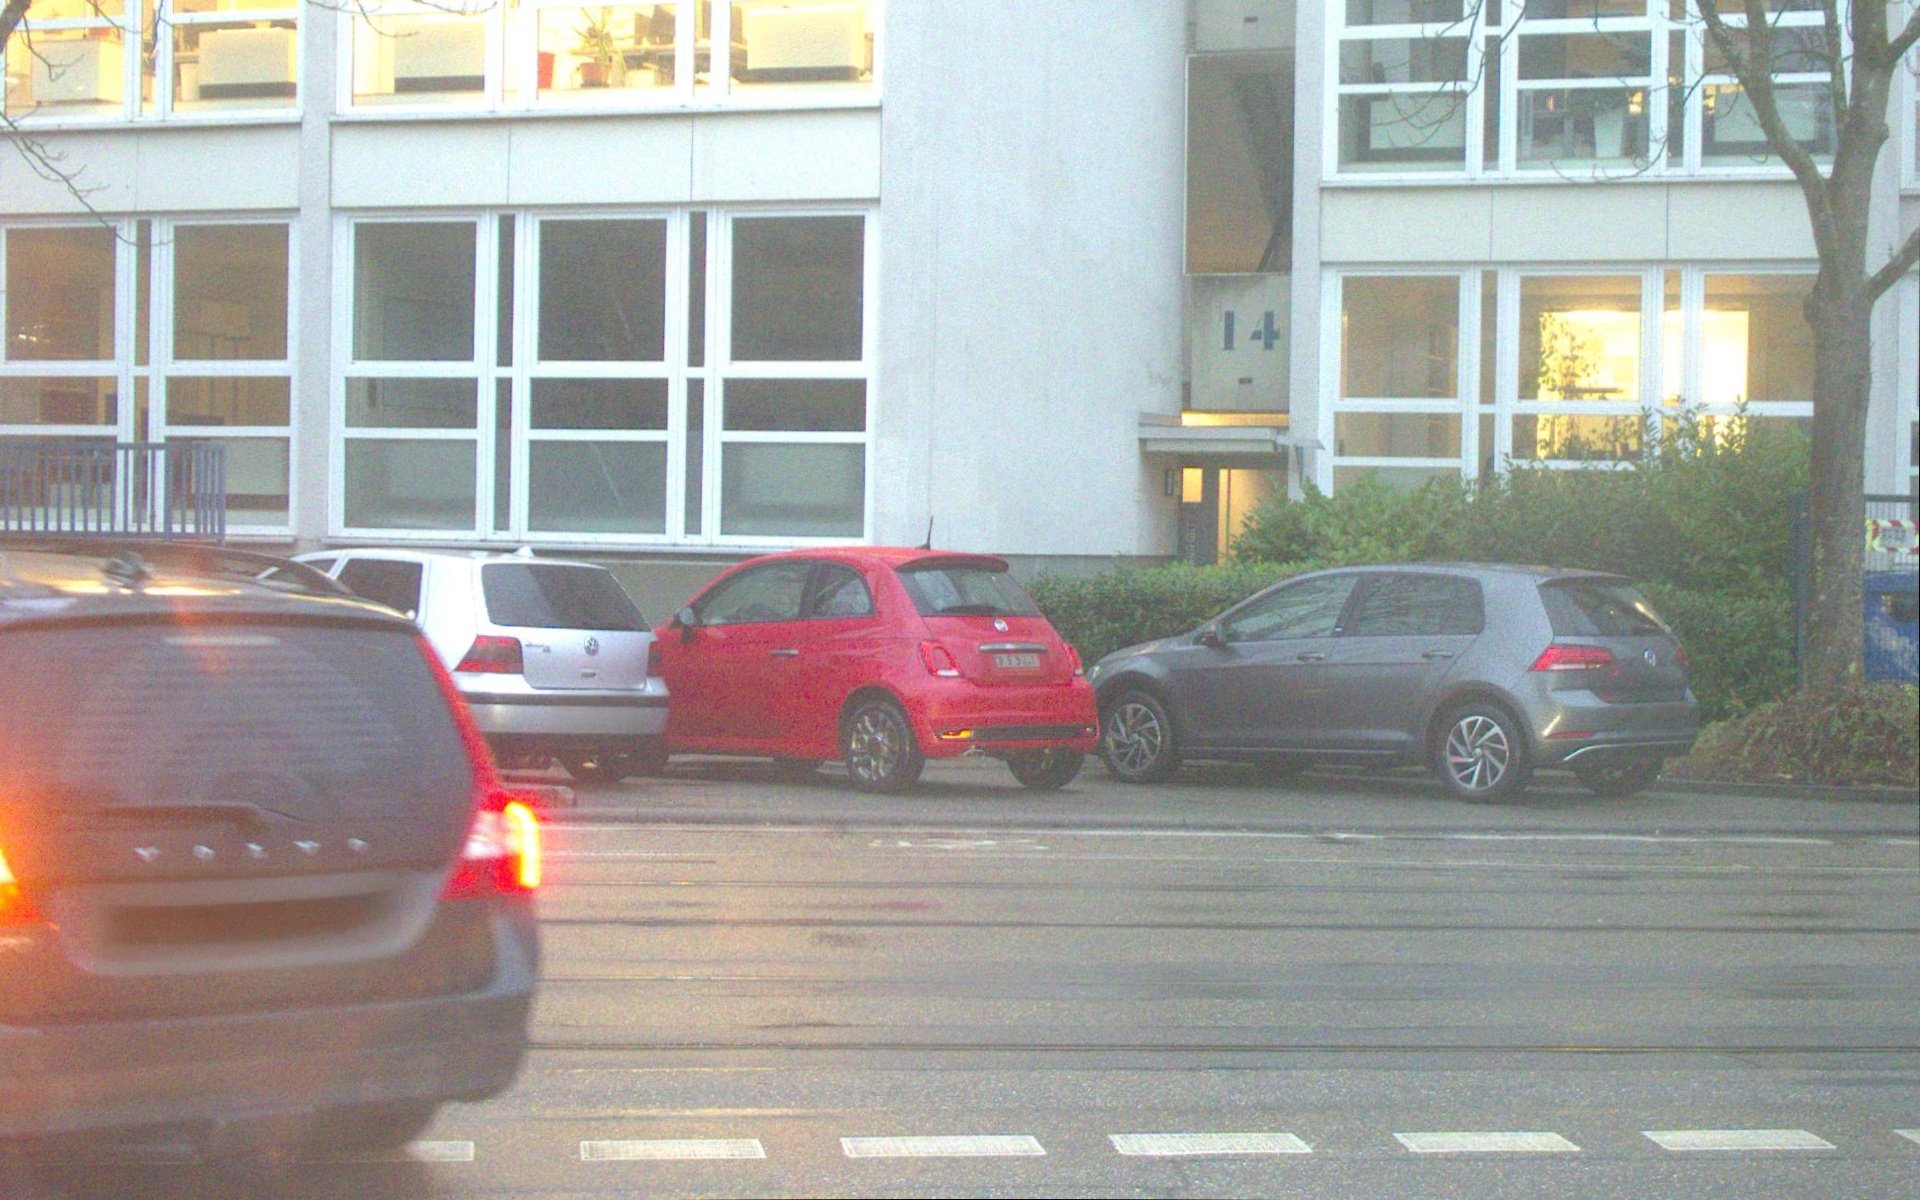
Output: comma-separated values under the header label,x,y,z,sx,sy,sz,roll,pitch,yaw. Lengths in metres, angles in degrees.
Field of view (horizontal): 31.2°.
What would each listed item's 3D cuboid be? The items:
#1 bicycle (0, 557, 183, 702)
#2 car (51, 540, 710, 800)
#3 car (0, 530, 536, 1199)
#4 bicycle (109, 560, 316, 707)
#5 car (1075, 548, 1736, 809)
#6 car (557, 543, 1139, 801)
label,x,y,z,sx,sy,sz,roll,pitch,yaw
bicycle,-7.138,0.216,27.857,0.640,1.117,2.204,1,1,17
car,-3.628,0.365,21.209,3.996,1.441,1.789,1,1,38
car,-2.916,0.593,8.914,1.748,1.539,4.294,0,1,-36
bicycle,-5.952,0.243,27.509,0.640,1.117,2.204,1,1,17
car,2.766,0.430,21.794,3.850,1.487,1.692,1,1,40
car,-0.753,0.393,21.728,3.448,1.487,1.725,1,1,42
